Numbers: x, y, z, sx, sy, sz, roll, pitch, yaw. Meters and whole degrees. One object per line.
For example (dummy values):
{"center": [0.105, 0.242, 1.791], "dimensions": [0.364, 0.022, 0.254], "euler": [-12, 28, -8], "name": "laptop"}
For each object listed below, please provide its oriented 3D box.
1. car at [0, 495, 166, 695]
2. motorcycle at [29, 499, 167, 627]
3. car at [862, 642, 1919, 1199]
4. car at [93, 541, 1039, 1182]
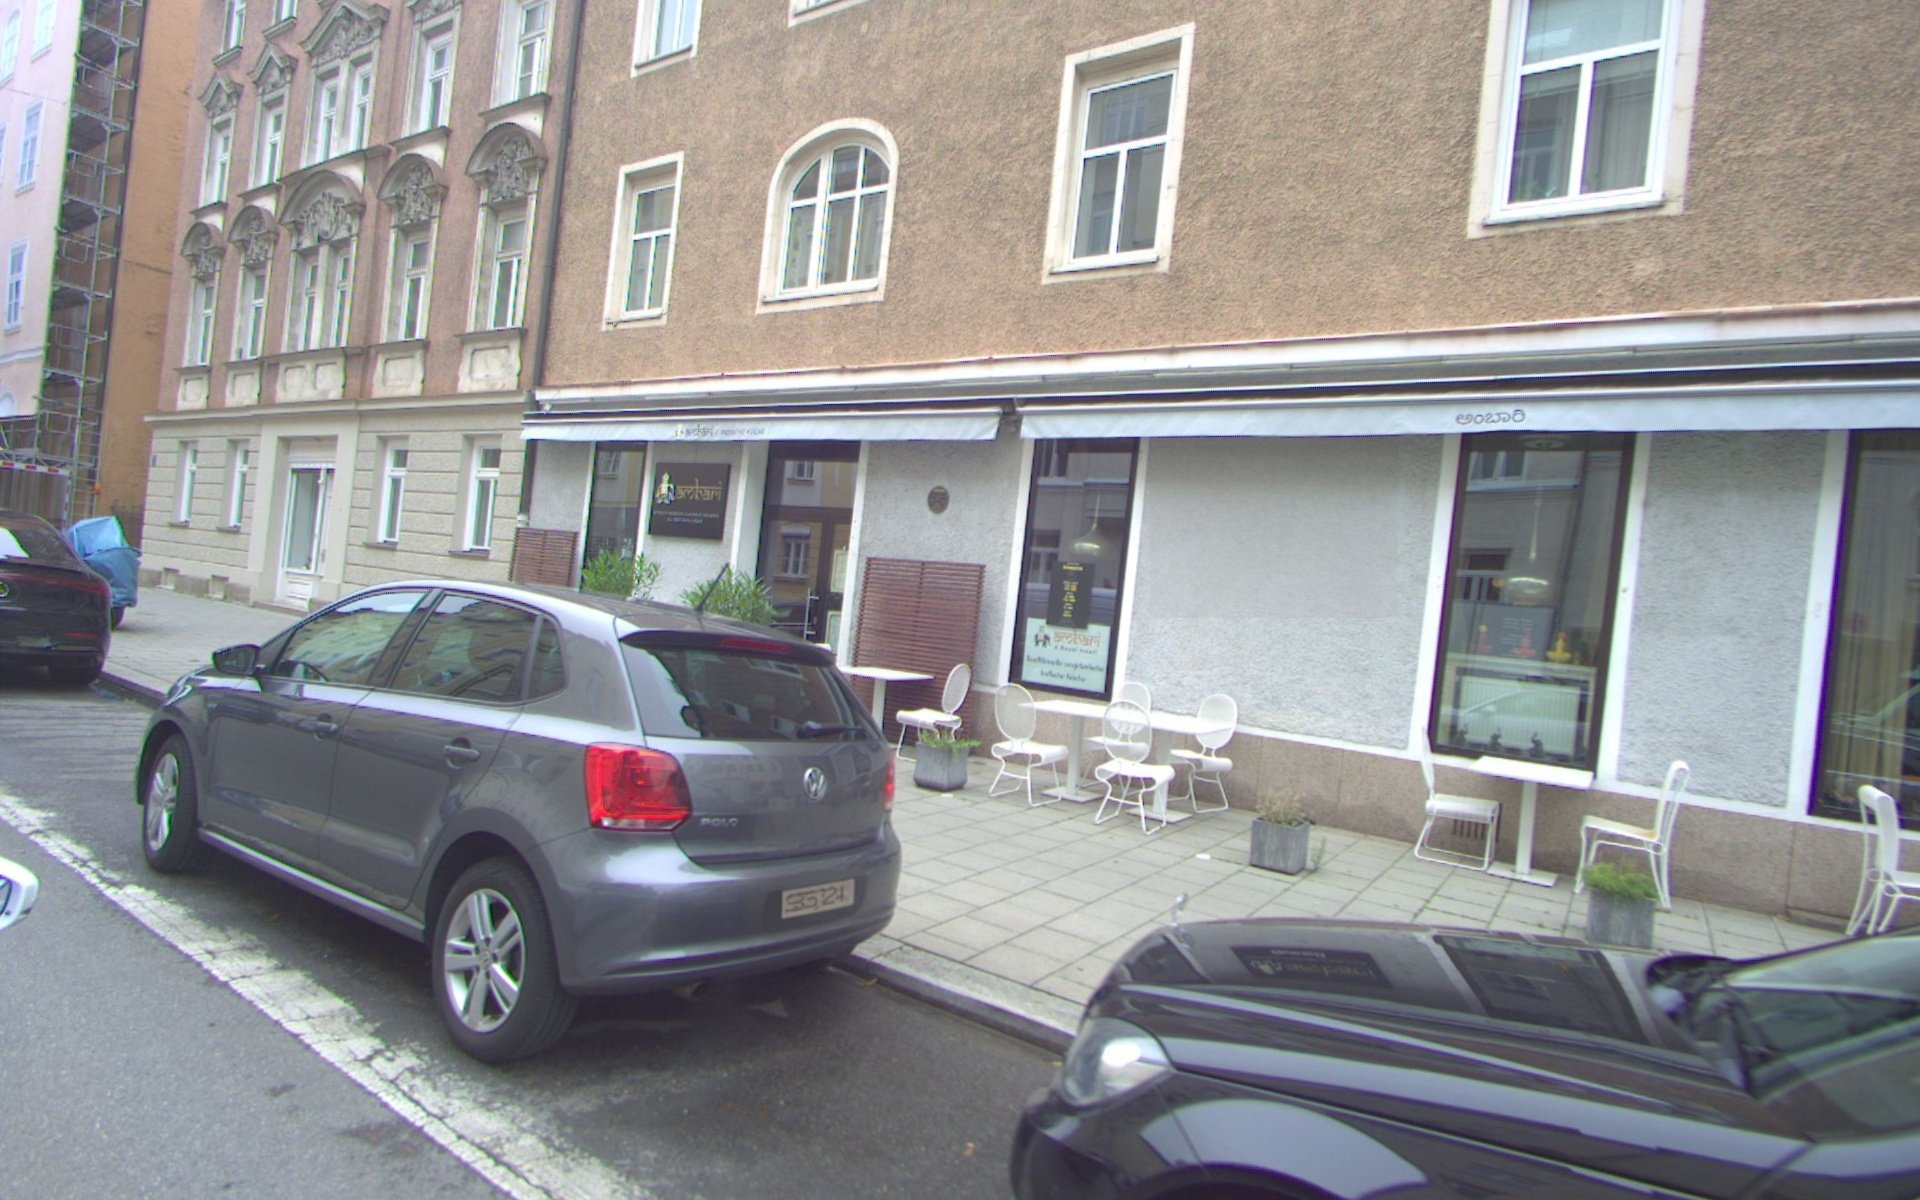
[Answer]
{"center": [-9.902, -0.280, 9.564], "dimensions": [5.545, 1.571, 1.933], "euler": [6, -1, 33], "name": "car"}
{"center": [-11.684, -0.516, 13.615], "dimensions": [1.966, 1.523, 0.872], "euler": [6, -1, 36], "name": "motorcycle"}
{"center": [2.292, 1.061, 1.358], "dimensions": [4.712, 1.422, 1.848], "euler": [6, -1, 34], "name": "car"}
{"center": [-1.902, 0.643, 4.291], "dimensions": [4.115, 1.411, 1.573], "euler": [5, -1, 33], "name": "car"}
